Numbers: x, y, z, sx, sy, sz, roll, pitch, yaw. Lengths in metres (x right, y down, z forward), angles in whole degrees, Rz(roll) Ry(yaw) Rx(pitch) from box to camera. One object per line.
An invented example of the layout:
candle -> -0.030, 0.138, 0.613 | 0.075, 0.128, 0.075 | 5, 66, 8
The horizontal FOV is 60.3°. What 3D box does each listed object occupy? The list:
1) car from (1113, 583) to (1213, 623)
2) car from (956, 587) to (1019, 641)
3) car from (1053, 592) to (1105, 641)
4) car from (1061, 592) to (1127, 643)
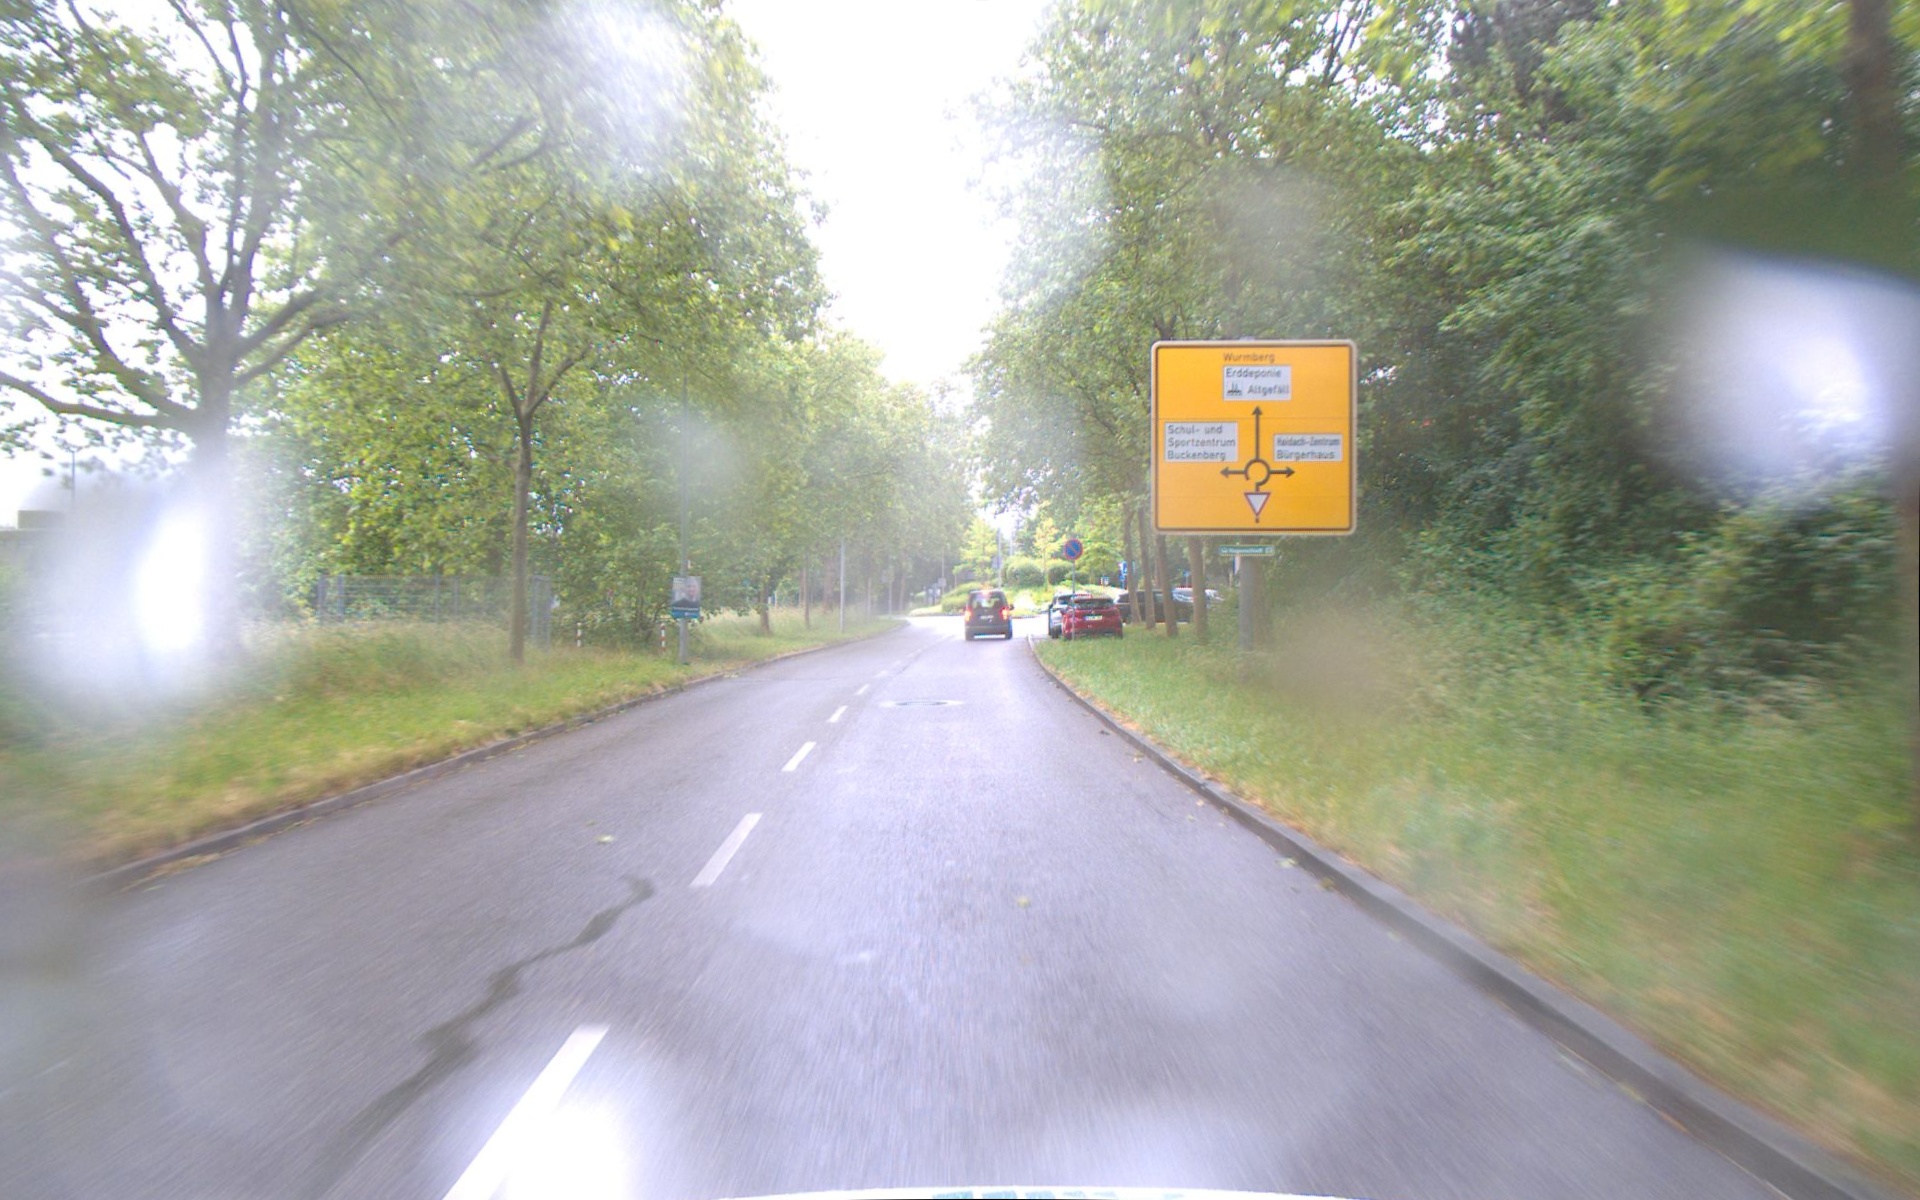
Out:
car -> 9.113, 0.134, 74.549 | 4.376, 1.709, 1.769 | -1, 1, 4
car -> 1.103, 0.522, 63.285 | 1.878, 1.832, 3.793 | -4, 0, 7
car -> 4.257, 0.586, 59.760 | 1.692, 1.619, 4.254 | -3, 0, 2
car -> 3.887, 0.499, 48.471 | 1.760, 1.396, 3.745 | -2, 0, 2
